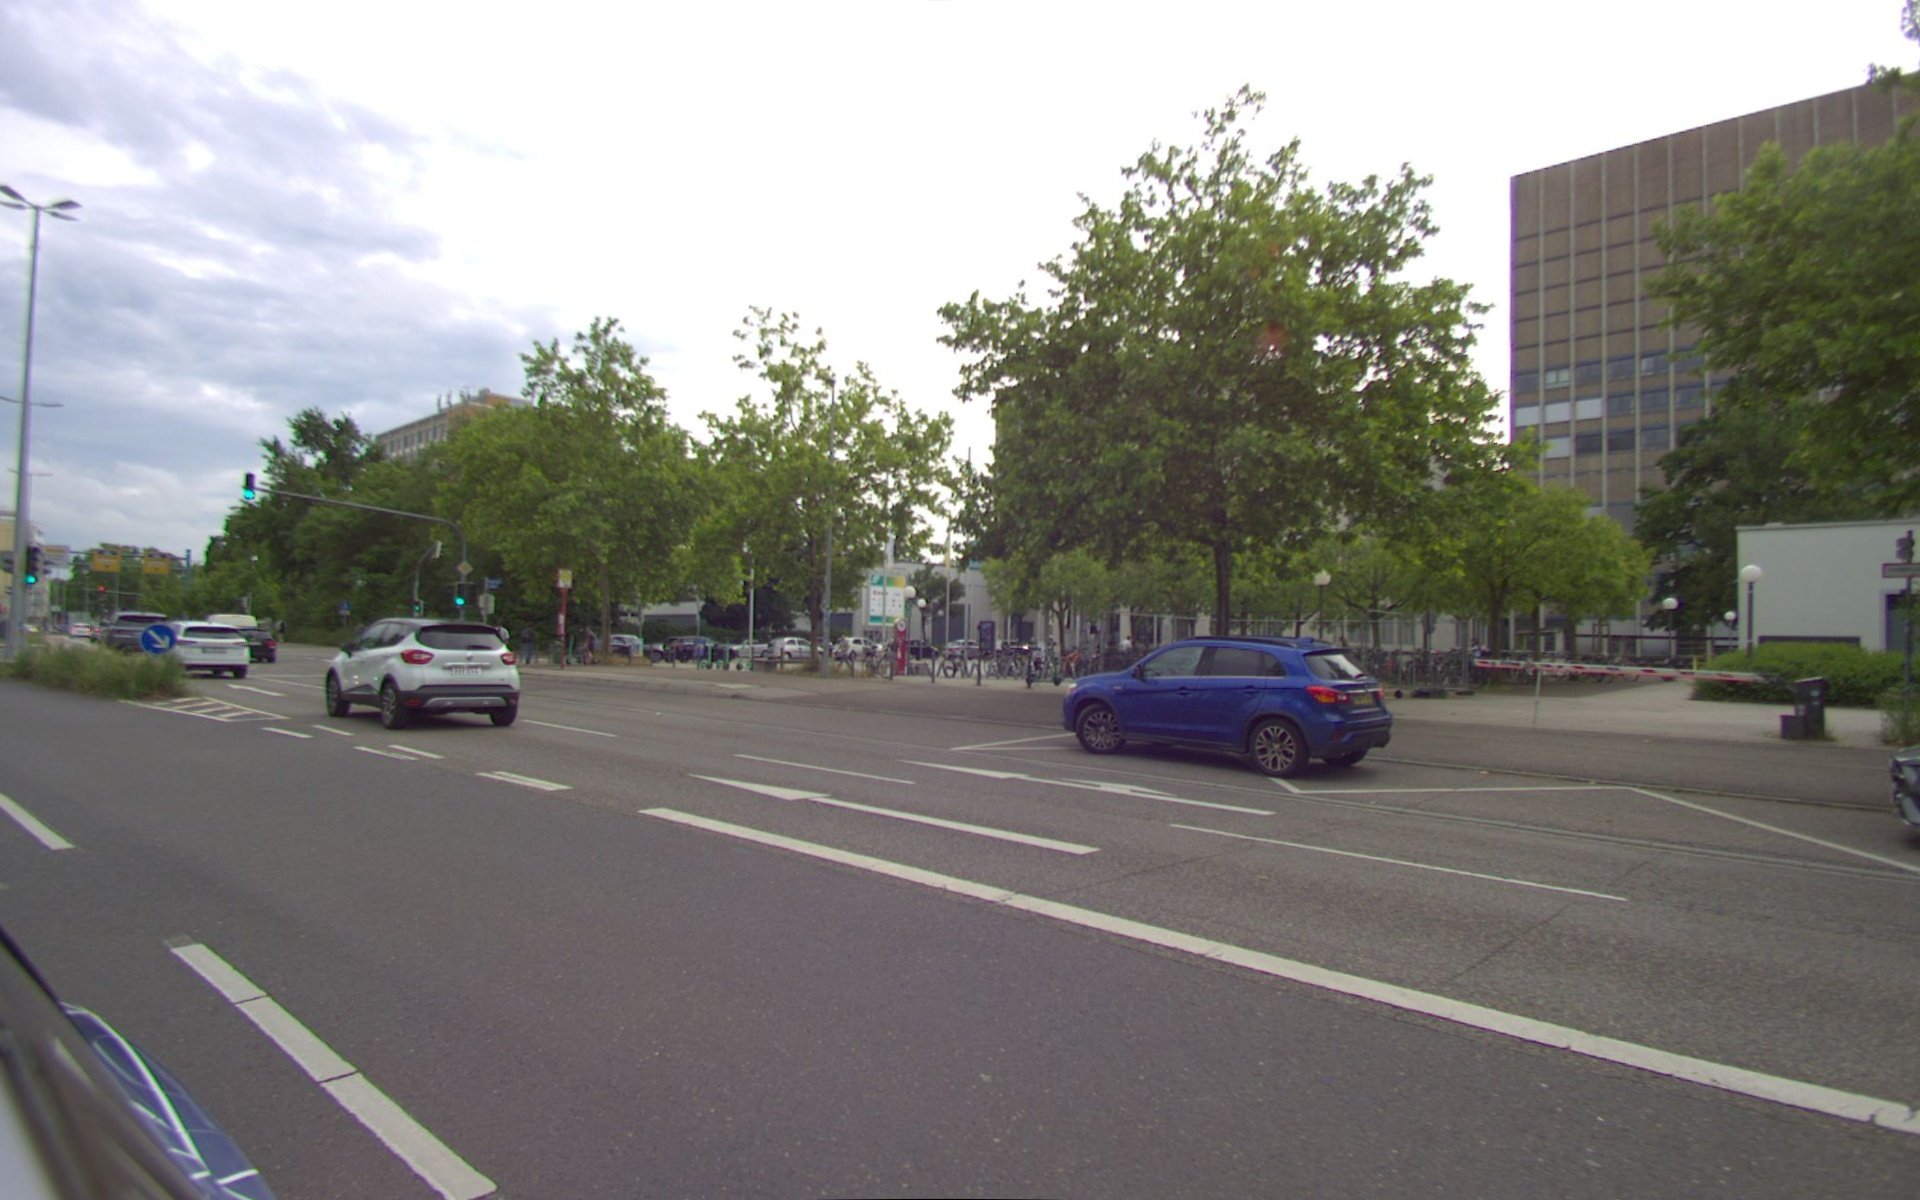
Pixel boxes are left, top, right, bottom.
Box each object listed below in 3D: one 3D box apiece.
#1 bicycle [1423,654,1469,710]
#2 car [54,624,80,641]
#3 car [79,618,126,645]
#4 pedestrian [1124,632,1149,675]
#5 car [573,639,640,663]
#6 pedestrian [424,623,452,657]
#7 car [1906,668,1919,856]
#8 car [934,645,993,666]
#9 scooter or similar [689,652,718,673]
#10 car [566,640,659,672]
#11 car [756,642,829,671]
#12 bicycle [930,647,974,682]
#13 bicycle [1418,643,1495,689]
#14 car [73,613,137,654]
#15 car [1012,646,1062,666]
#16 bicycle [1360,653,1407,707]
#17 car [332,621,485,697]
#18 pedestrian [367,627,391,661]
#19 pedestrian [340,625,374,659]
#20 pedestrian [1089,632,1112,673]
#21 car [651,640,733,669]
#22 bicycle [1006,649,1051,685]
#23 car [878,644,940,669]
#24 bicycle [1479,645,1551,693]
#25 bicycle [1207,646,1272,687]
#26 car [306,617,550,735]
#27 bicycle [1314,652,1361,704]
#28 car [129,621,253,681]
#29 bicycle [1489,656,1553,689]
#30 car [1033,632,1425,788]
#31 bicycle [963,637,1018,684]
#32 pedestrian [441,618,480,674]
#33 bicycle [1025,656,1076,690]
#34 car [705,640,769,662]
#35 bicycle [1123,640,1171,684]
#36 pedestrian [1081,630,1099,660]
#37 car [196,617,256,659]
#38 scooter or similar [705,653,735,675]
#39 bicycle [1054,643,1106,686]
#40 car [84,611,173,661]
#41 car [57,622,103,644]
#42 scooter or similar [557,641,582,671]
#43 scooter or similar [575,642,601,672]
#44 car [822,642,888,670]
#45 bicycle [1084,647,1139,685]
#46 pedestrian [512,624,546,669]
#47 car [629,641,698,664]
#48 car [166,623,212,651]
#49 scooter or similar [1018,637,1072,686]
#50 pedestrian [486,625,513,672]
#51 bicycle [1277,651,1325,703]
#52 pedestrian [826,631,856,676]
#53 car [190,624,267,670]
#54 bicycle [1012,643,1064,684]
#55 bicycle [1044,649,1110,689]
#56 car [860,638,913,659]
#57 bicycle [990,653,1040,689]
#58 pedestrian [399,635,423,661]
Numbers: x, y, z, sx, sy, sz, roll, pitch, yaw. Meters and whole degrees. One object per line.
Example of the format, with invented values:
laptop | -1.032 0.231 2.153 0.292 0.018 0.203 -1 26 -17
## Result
bicycle | 14.728 2.463 30.637 0.721 1.606 2.375 -1 -4 39
car | -96.107 3.457 108.928 1.866 1.786 4.003 1 -2 -44
car | -54.709 2.041 64.530 1.934 1.596 4.258 4 -4 -44
pedestrian | 8.639 2.618 49.542 0.883 2.029 0.796 4 -4 -40
car | -22.280 3.188 63.897 1.863 1.461 3.545 -1 -3 42
pedestrian | -31.484 2.420 61.043 1.089 2.029 1.037 0 -2 12
car | 9.628 1.249 6.797 4.730 1.435 1.852 -1 -4 45
car | 0.271 3.902 71.314 2.008 1.371 3.943 -1 -4 43
scooter or similar | -9.169 2.215 36.123 0.402 0.699 1.290 2 -2 -44
car | -17.694 2.819 51.650 1.998 1.483 4.100 -1 -2 39
car | -9.979 3.318 60.433 1.999 1.592 3.945 -1 -2 41
bicycle | -0.275 2.234 35.329 0.717 1.162 2.019 0 -3 25
bicycle | 17.661 2.366 35.990 3.036 1.571 0.925 3 -3 -30
car | -44.550 1.757 52.700 4.000 2.029 1.972 -1 -4 43
car | 5.979 4.359 78.285 1.959 1.467 3.630 -1 -4 43
bicycle | 13.218 2.483 31.521 0.721 1.606 2.375 -1 -4 39
car | -13.711 1.420 25.057 4.468 1.707 1.972 -1 -4 43
pedestrian | -31.588 2.392 55.054 0.653 1.705 0.583 -2 -17 46
pedestrian | -36.086 2.503 60.586 1.344 2.029 1.175 -1 -2 24
pedestrian | 7.027 2.629 50.629 0.781 2.029 0.992 3 -3 -19
car | -14.611 2.947 55.269 1.998 1.483 3.947 -1 -2 39
bicycle | 2.330 2.258 33.997 0.717 1.153 2.311 0 -3 25
car | -3.392 3.818 67.854 1.889 1.565 3.943 -1 -4 43
bicycle | 18.992 2.360 34.604 2.621 1.571 0.925 3 -3 -30
bicycle | 11.186 2.667 40.465 2.621 1.571 0.925 3 -3 -30
car | -8.257 1.109 15.559 4.180 1.558 1.972 -1 -5 43
bicycle | 12.207 2.510 32.650 0.721 1.606 2.375 -1 -4 39
car | -21.022 1.325 27.588 4.911 1.477 1.883 -1 -2 43
bicycle | 21.473 2.786 38.728 2.621 1.214 0.925 3 -3 -30
car | 3.287 1.241 13.060 4.594 1.620 1.838 -1 -2 45
bicycle | 1.068 2.087 35.039 0.897 1.571 2.175 0 -3 32
pedestrian | -18.202 1.679 36.895 1.009 2.029 0.884 -1 -4 41
bicycle | 3.567 2.844 39.672 0.721 1.279 2.510 -1 -4 39
car | -15.670 3.573 71.276 2.000 1.402 3.942 -1 -2 44
bicycle | 7.062 2.342 38.070 0.920 1.571 2.425 0 -3 32
pedestrian | 8.976 3.113 69.823 0.943 2.029 0.788 0 -3 26
car | -34.381 1.759 47.352 1.750 1.862 4.493 1 -2 -43
scooter or similar | -8.244 2.183 34.805 0.402 0.699 1.290 2 -2 -44
bicycle | 4.691 2.499 39.375 0.920 1.571 2.637 0 -3 32
car | -30.224 1.297 36.735 4.949 1.700 1.971 -2 -3 44
car | -63.653 2.380 73.197 4.273 1.541 1.972 -1 -4 42
scooter or similar | -15.589 2.237 40.369 1.320 1.149 0.356 -1 -4 43
scooter or similar | -14.426 2.210 39.239 1.320 1.149 0.356 -1 -4 43
car | -6.646 3.558 64.343 1.853 1.696 3.945 -1 -4 41
bicycle | 5.729 2.489 38.062 0.721 1.339 2.790 -1 -4 39
pedestrian | -18.069 1.947 42.413 0.935 1.817 0.886 -1 -5 39
car | -19.469 3.451 66.531 2.000 1.402 3.942 -1 -2 44
car | -47.289 2.250 62.056 1.969 1.632 4.006 4 -4 -40
scooter or similar | 2.235 1.618 26.519 0.566 1.253 1.557 -1 -4 43
pedestrian | -20.629 2.187 45.326 0.849 2.074 0.662 -1 -4 28
bicycle | 11.258 2.527 33.338 0.721 1.606 2.375 -1 -4 39
pedestrian | -5.467 2.469 46.596 1.091 2.029 0.788 0 -3 26
car | -29.239 1.866 40.430 4.000 1.702 1.680 -1 -4 43
bicycle | 3.153 2.558 40.601 0.780 1.571 2.633 -1 -4 37
bicycle | 3.718 2.187 32.001 0.721 1.183 2.719 -1 -4 39
car | -5.924 3.928 81.658 2.001 1.552 3.942 -1 -4 44
bicycle | 2.254 2.878 41.031 0.721 1.364 2.460 -1 -4 39
pedestrian | -30.761 2.695 56.702 0.991 1.439 0.697 0 -2 15
